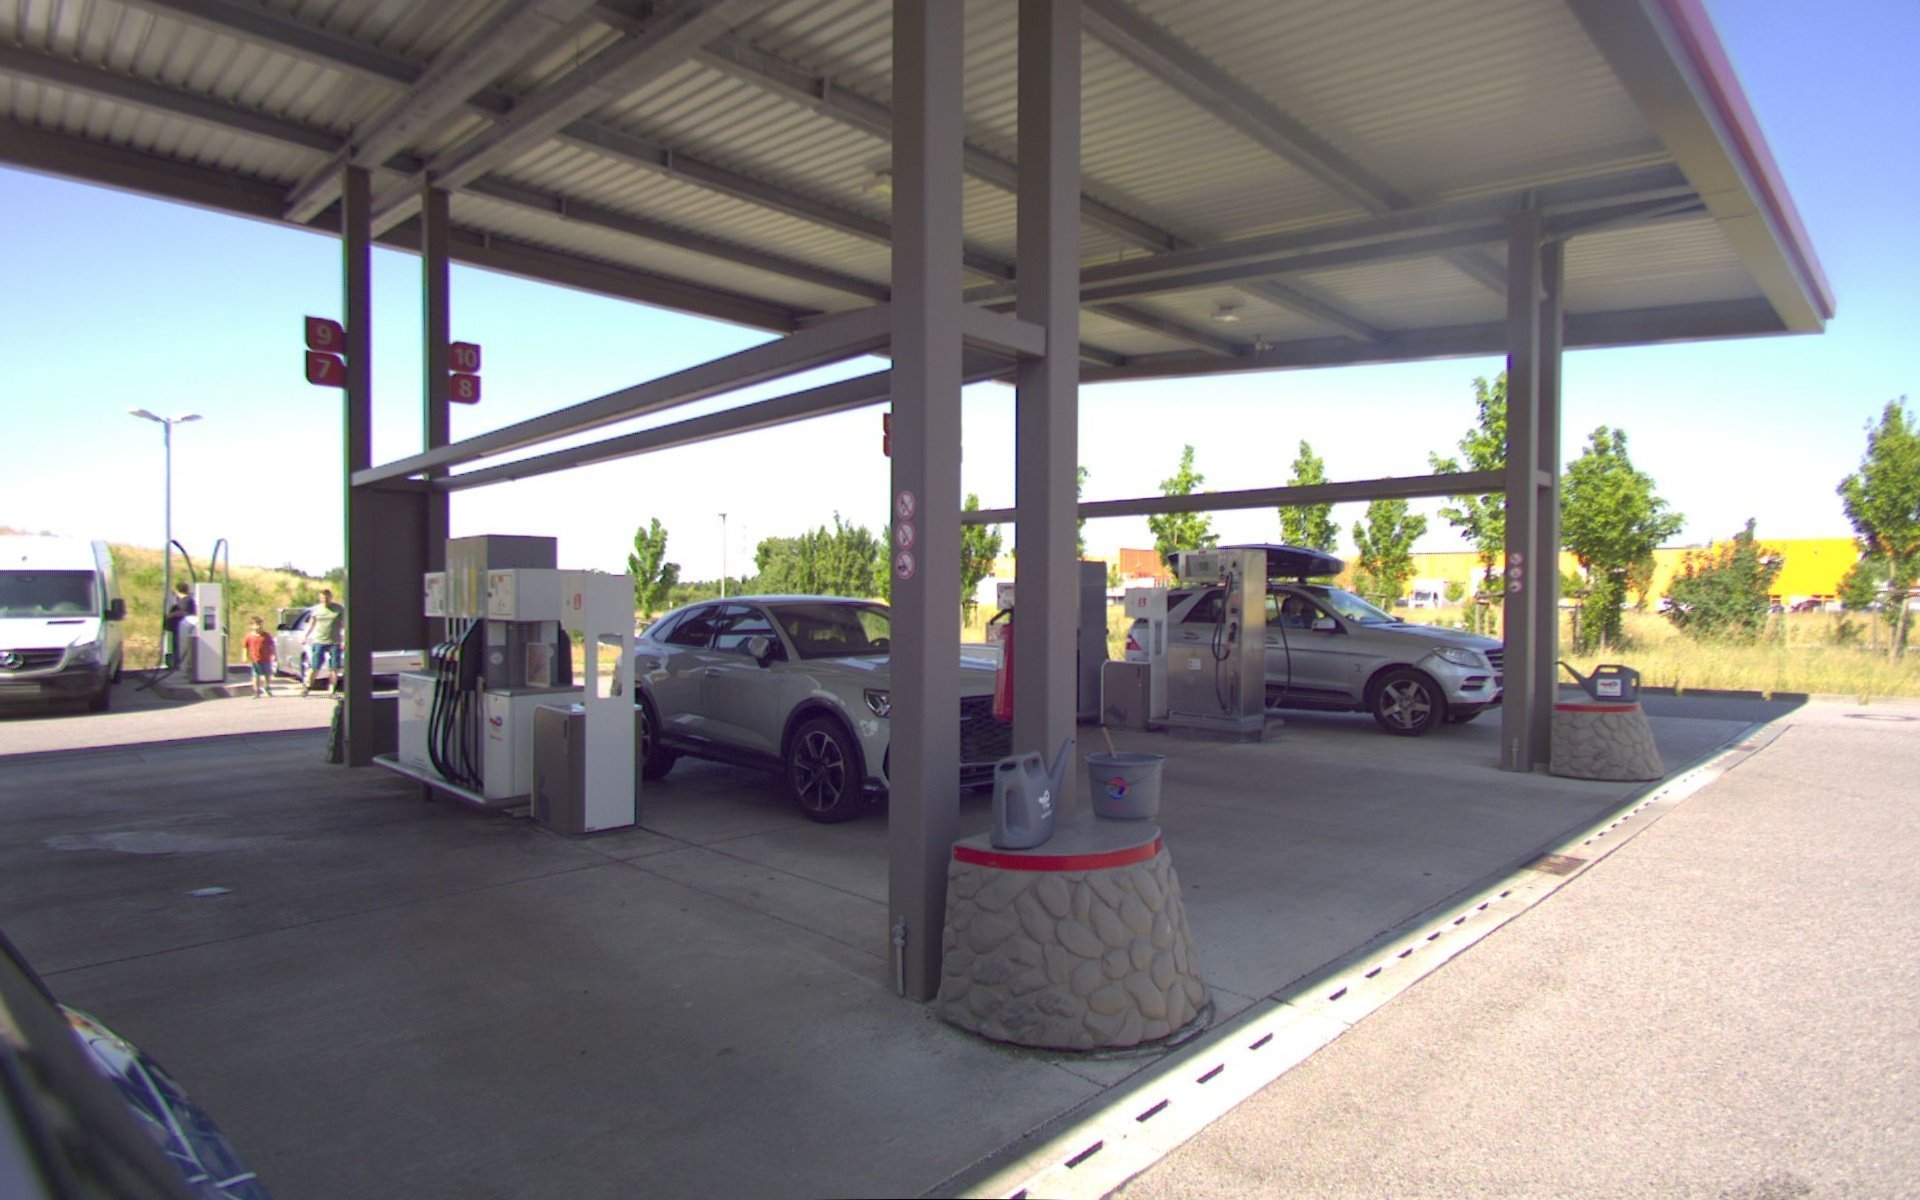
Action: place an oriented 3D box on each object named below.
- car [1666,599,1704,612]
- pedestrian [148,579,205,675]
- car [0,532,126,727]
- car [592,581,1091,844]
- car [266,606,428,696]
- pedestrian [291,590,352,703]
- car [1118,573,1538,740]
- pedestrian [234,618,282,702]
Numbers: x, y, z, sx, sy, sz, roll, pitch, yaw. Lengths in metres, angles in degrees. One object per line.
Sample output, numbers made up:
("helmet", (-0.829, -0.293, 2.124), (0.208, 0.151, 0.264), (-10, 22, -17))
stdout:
("car", (74.715, 0.612, 104.317), (1.463, 1.309, 2.949), (1, -1, -42))
("pedestrian", (-15.065, 0.511, 19.457), (0.832, 1.783, 0.710), (0, -1, -40))
("car", (-14.864, 0.307, 16.282), (1.968, 2.590, 7.046), (1, 1, -38))
("car", (-1.196, 0.686, 8.166), (1.759, 1.553, 4.329), (0, -1, -44))
("car", (-11.662, 0.868, 19.112), (1.766, 1.439, 4.326), (0, 0, -43))
("pedestrian", (-10.327, 0.728, 16.363), (0.698, 1.762, 0.846), (0, -1, -42))
("car", (4.382, 0.606, 12.524), (4.535, 1.700, 1.840), (-1, -1, 42))
("pedestrian", (-11.416, 0.957, 16.456), (0.569, 1.316, 0.670), (0, -1, -42))
